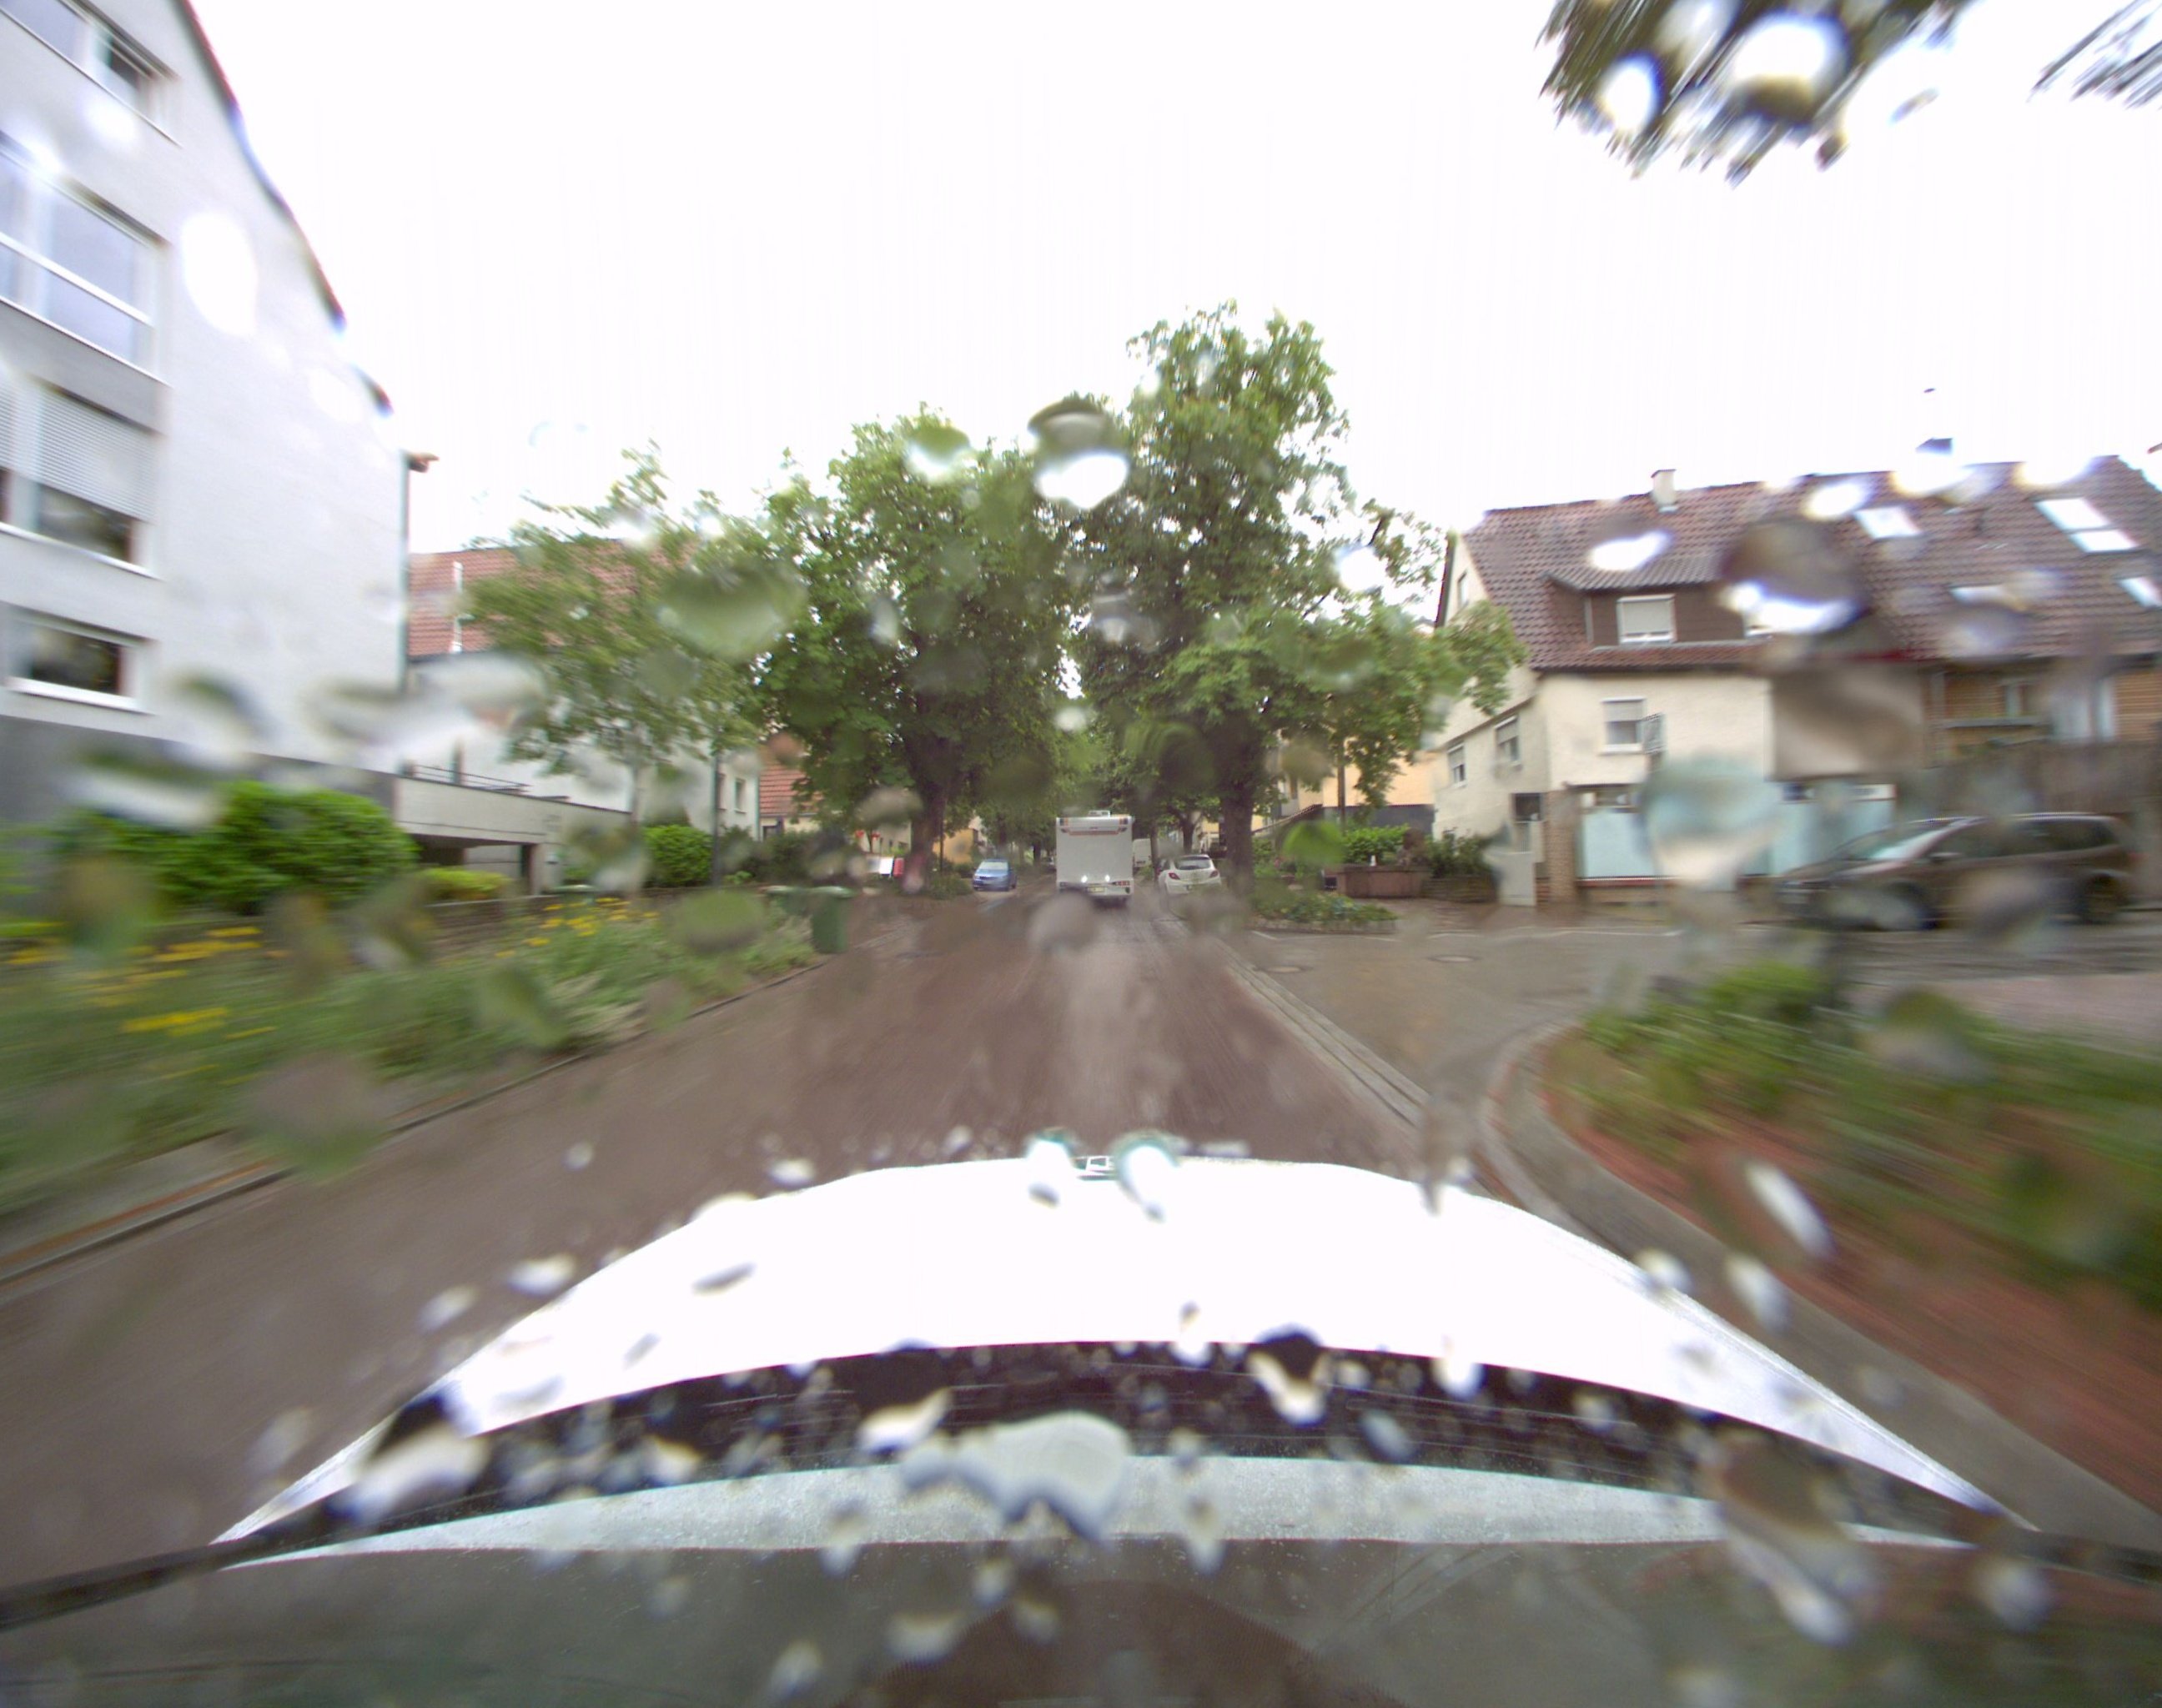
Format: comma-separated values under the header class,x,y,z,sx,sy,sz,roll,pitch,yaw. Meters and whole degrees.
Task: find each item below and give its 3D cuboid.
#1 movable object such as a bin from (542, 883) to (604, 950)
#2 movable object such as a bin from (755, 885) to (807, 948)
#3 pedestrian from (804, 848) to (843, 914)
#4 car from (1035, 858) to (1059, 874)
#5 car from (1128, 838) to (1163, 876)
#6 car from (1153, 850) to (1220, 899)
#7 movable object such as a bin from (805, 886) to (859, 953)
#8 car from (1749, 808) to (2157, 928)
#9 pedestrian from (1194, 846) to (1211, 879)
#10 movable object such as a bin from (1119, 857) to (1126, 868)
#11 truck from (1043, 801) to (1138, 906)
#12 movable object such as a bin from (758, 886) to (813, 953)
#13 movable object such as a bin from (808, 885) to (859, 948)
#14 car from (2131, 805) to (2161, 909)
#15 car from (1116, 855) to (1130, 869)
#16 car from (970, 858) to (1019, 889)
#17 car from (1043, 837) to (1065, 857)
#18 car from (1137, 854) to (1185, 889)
class,x,y,z,sx,sy,sz,roll,pitch,yaw
movable object such as a bin,-8.997,1.104,14.453,0.659,1.133,0.659,-1,-1,4
movable object such as a bin,-5.362,1.116,14.579,0.660,1.074,0.597,-2,-1,6
pedestrian,-6.371,0.648,20.186,0.647,1.594,0.932,-1,-1,1
car,-3.077,1.111,75.049,1.765,1.389,4.549,1,0,3
car,4.427,0.219,56.373,2.133,2.460,5.437,-1,0,1
car,3.326,0.625,26.280,1.675,1.399,3.795,-2,0,1
movable object such as a bin,-4.177,1.090,13.700,0.660,1.074,0.597,-2,-1,6
car,13.447,0.223,12.833,4.158,1.584,1.844,-2,0,7
pedestrian,6.463,0.458,43.243,0.764,1.731,0.492,-1,0,-2
movable object such as a bin,4.221,0.857,82.934,0.686,1.082,0.540,-1,-1,-3
truck,0.366,0.004,26.416,2.684,2.986,6.239,-1,0,2
movable object such as a bin,-4.994,1.098,13.796,0.660,1.074,0.597,-2,-1,6
movable object such as a bin,-4.401,1.098,14.531,0.660,1.067,0.597,-2,-1,6
car,18.933,-0.034,12.078,4.160,1.621,1.708,-2,0,5
car,5.794,1.158,113.103,1.907,1.792,4.490,-1,1,1
car,-4.005,0.887,38.410,1.742,1.396,3.798,-1,0,2
car,-2.804,-0.676,85.755,1.986,2.014,4.002,-1,0,2
car,3.433,0.713,35.402,1.802,1.411,3.784,-1,0,1
